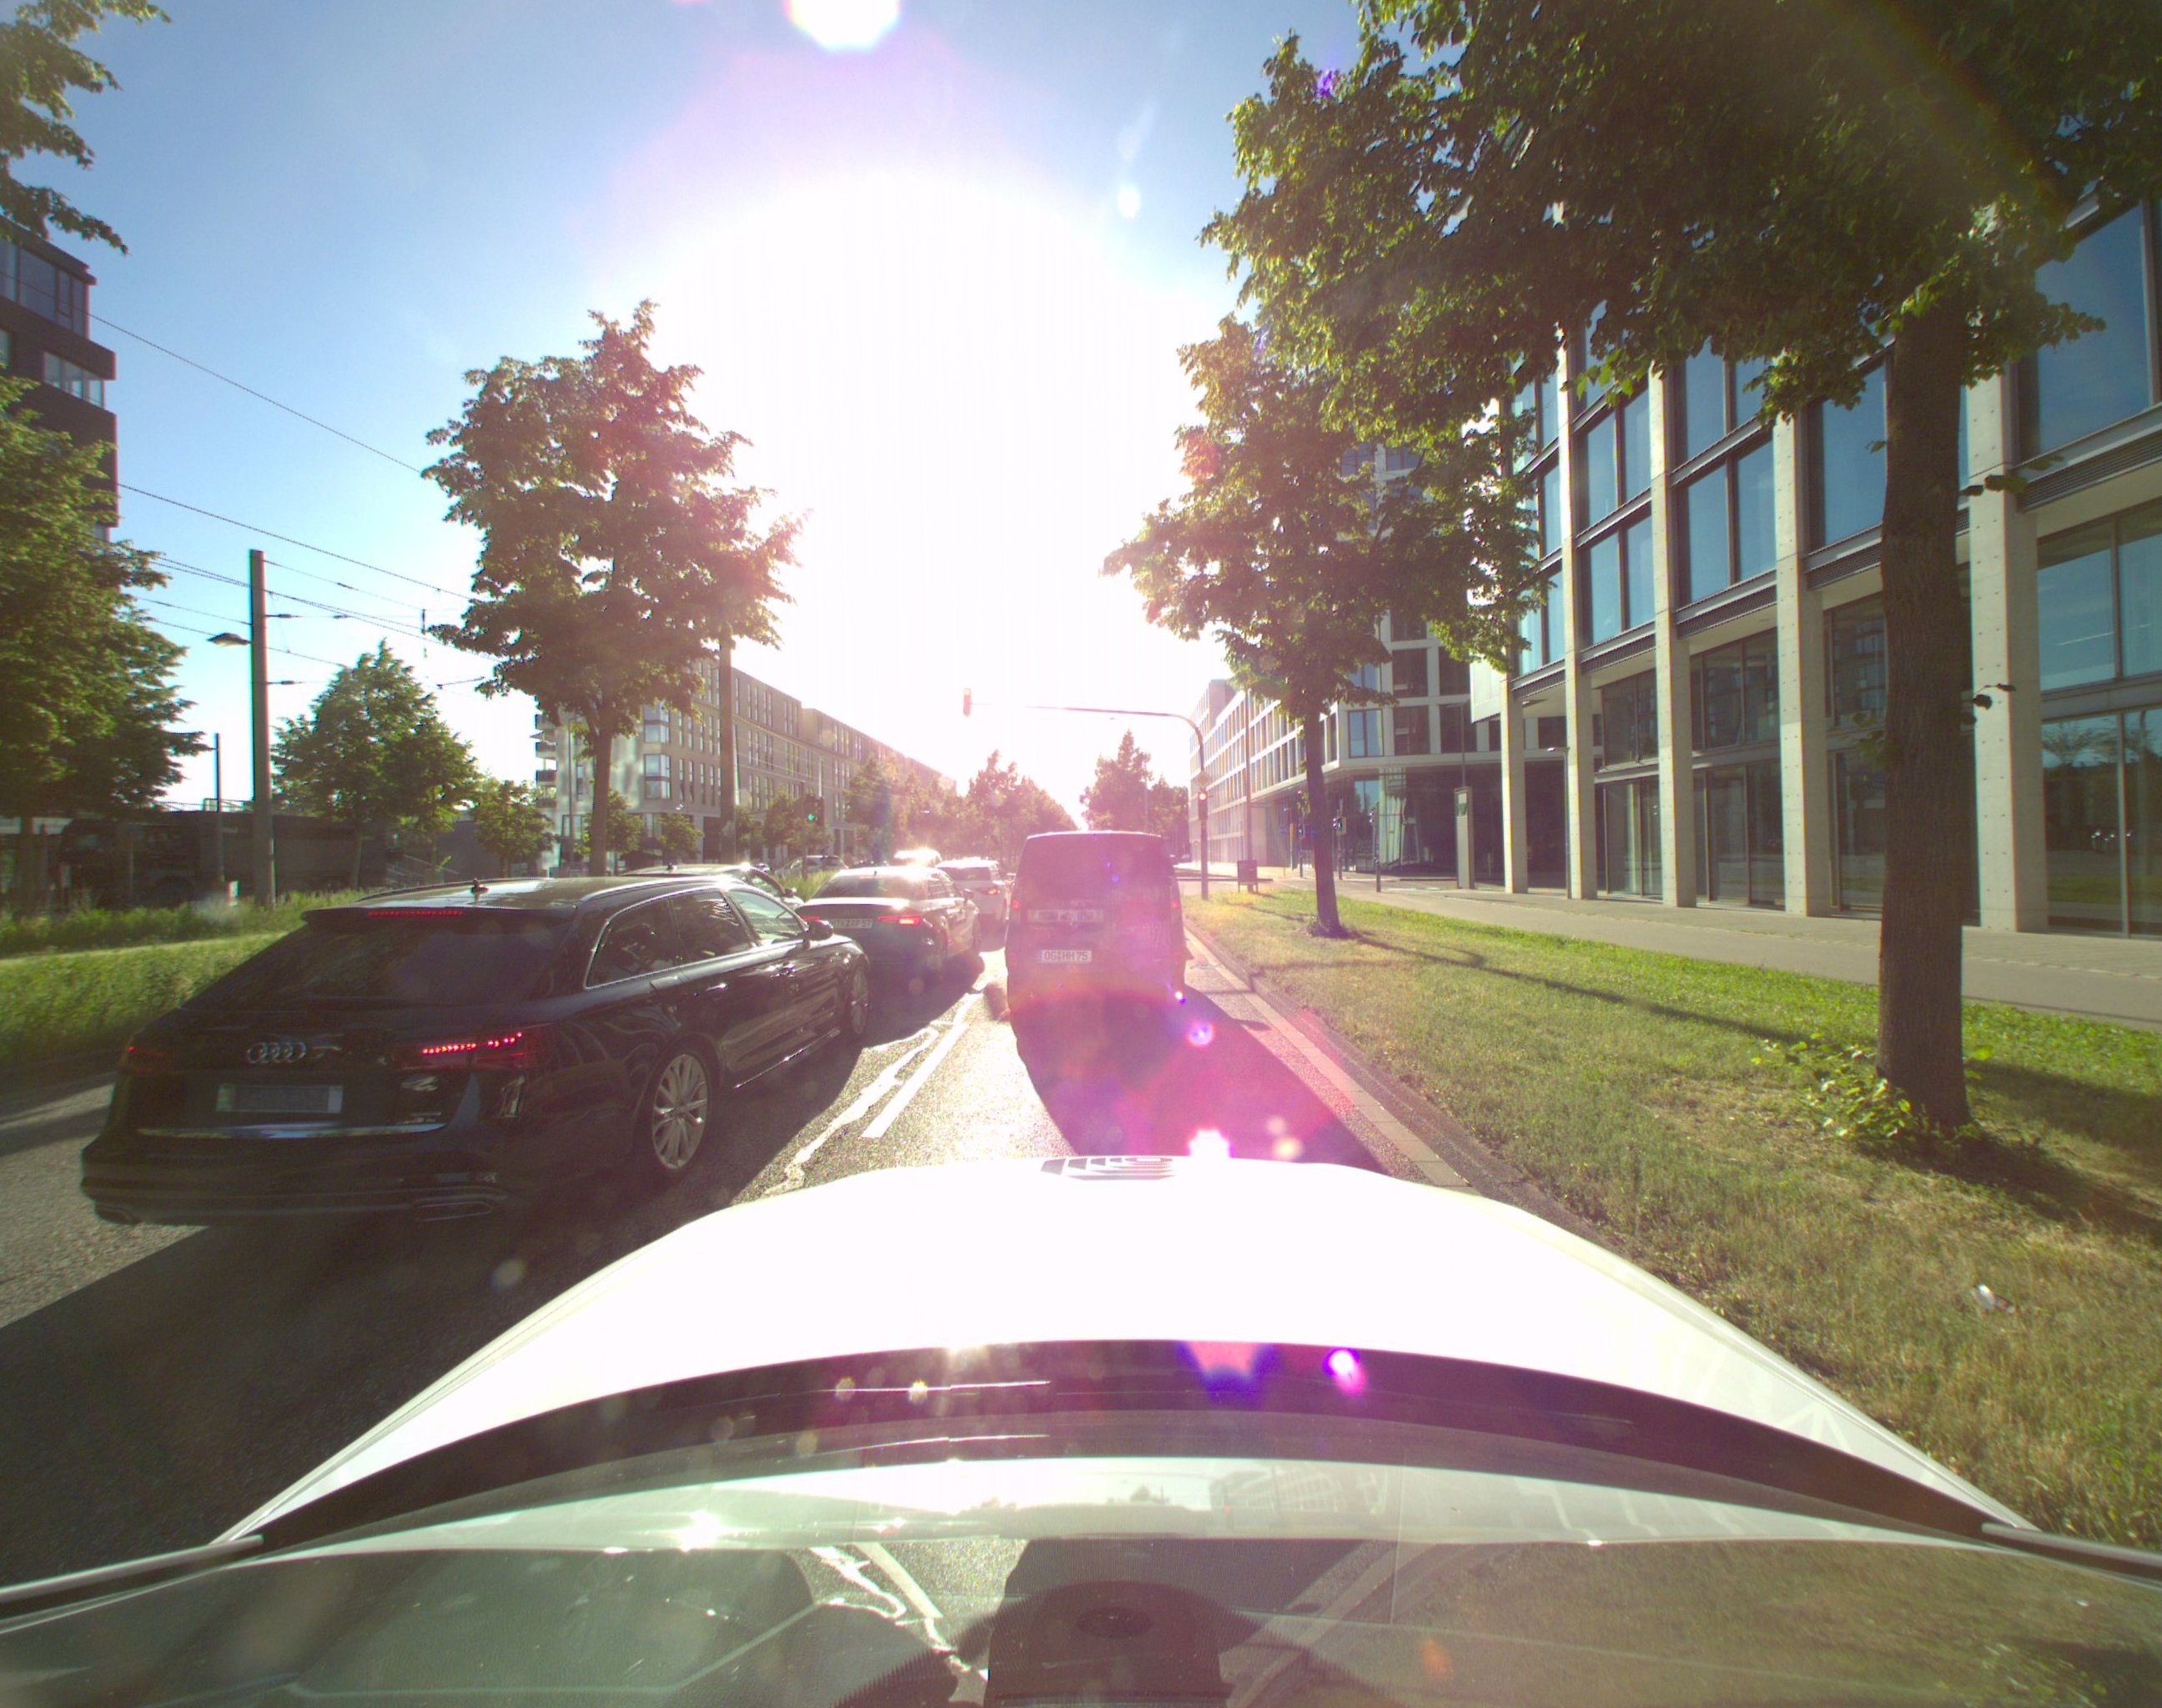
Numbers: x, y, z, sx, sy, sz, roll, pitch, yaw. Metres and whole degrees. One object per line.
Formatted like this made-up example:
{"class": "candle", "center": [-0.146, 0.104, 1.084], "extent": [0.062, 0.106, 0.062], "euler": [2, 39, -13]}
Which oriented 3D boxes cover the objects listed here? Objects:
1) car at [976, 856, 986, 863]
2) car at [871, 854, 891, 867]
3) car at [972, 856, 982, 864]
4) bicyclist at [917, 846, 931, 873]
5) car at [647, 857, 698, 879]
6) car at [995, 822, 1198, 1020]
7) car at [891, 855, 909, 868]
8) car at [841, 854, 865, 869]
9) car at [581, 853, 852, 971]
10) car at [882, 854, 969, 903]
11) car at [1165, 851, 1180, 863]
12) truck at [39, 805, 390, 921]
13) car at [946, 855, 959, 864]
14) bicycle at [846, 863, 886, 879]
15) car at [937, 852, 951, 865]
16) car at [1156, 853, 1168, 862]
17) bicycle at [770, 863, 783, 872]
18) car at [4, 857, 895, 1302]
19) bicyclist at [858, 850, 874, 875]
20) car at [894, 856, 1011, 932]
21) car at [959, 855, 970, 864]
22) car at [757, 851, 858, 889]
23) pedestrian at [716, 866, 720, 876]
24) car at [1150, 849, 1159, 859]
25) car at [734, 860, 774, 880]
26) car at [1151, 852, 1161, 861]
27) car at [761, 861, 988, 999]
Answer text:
{"class": "car", "center": [-27.435, 1.543, 223.813], "extent": [1.986, 2.013, 4.002], "euler": [-1, 0, 2]}
{"class": "car", "center": [-30.757, 0.973, 125.140], "extent": [1.986, 2.013, 4.002], "euler": [-1, 0, 2]}
{"class": "car", "center": [-27.892, 1.506, 218.196], "extent": [1.986, 2.013, 4.002], "euler": [-1, 0, 2]}
{"class": "bicyclist", "center": [-12.451, 0.464, 64.724], "extent": [0.937, 2.092, 0.817], "euler": [-1, 0, -2]}
{"class": "car", "center": [-31.052, 1.034, 62.073], "extent": [1.758, 1.520, 4.002], "euler": [-1, 0, 2]}
{"class": "car", "center": [0.202, 0.613, 9.456], "extent": [1.835, 1.780, 4.002], "euler": [-1, 0, 2]}
{"class": "car", "center": [-30.586, 1.260, 137.456], "extent": [1.986, 2.013, 4.002], "euler": [-1, 0, 2]}
{"class": "car", "center": [-30.884, 0.977, 110.595], "extent": [1.986, 2.013, 4.002], "euler": [-1, 0, 2]}
{"class": "car", "center": [-5.224, 0.727, 12.493], "extent": [1.791, 1.447, 4.574], "euler": [-1, 0, 4]}
{"class": "car", "center": [-4.967, 0.723, 26.707], "extent": [1.792, 1.447, 4.571], "euler": [-1, 0, 2]}
{"class": "car", "center": [14.325, 0.421, 127.892], "extent": [1.986, 1.782, 4.002], "euler": [-1, 0, 2]}
{"class": "truck", "center": [-33.640, 0.289, 32.646], "extent": [2.880, 3.853, 10.218], "euler": [-1, 0, 2]}
{"class": "car", "center": [-28.896, 1.308, 183.364], "extent": [1.986, 2.013, 4.002], "euler": [-1, 0, 2]}
{"class": "bicycle", "center": [-17.173, 1.345, 65.192], "extent": [2.932, 1.190, 0.818], "euler": [-1, 0, 0]}
{"class": "car", "center": [-28.432, 0.946, 169.290], "extent": [1.986, 2.607, 4.002], "euler": [-1, 0, 2]}
{"class": "car", "center": [15.967, 0.619, 160.473], "extent": [1.986, 1.782, 4.002], "euler": [-1, 0, 2]}
{"class": "bicycle", "center": [-36.973, 1.639, 98.918], "extent": [0.674, 0.988, 1.957], "euler": [-1, 0, 2]}
{"class": "car", "center": [-2.767, 0.790, 5.319], "extent": [1.868, 1.484, 4.967], "euler": [-1, 0, 1]}
{"class": "bicyclist", "center": [-17.202, 0.678, 65.212], "extent": [0.995, 1.947, 0.818], "euler": [-1, 0, 0]}
{"class": "car", "center": [-2.665, 0.788, 17.776], "extent": [1.797, 1.426, 3.902], "euler": [-1, 0, 2]}
{"class": "car", "center": [-28.605, 1.400, 200.184], "extent": [1.986, 2.013, 4.002], "euler": [-1, 0, 2]}
{"class": "car", "center": [-12.411, 0.697, 36.903], "extent": [4.510, 1.483, 1.816], "euler": [2, 0, 32]}
{"class": "pedestrian", "center": [-40.800, 1.886, 91.546], "extent": [0.253, 1.085, 0.289], "euler": [-1, 0, 1]}
{"class": "car", "center": [17.897, 0.009, 198.176], "extent": [1.986, 2.497, 4.988], "euler": [-1, 0, 2]}
{"class": "car", "center": [-31.804, 1.528, 79.245], "extent": [1.986, 1.814, 4.372], "euler": [-1, 0, 2]}
{"class": "car", "center": [16.511, 0.529, 179.674], "extent": [1.986, 1.782, 4.002], "euler": [-1, 0, 2]}
{"class": "car", "center": [-2.505, 0.849, 11.067], "extent": [1.835, 1.426, 4.340], "euler": [-1, 0, 2]}
